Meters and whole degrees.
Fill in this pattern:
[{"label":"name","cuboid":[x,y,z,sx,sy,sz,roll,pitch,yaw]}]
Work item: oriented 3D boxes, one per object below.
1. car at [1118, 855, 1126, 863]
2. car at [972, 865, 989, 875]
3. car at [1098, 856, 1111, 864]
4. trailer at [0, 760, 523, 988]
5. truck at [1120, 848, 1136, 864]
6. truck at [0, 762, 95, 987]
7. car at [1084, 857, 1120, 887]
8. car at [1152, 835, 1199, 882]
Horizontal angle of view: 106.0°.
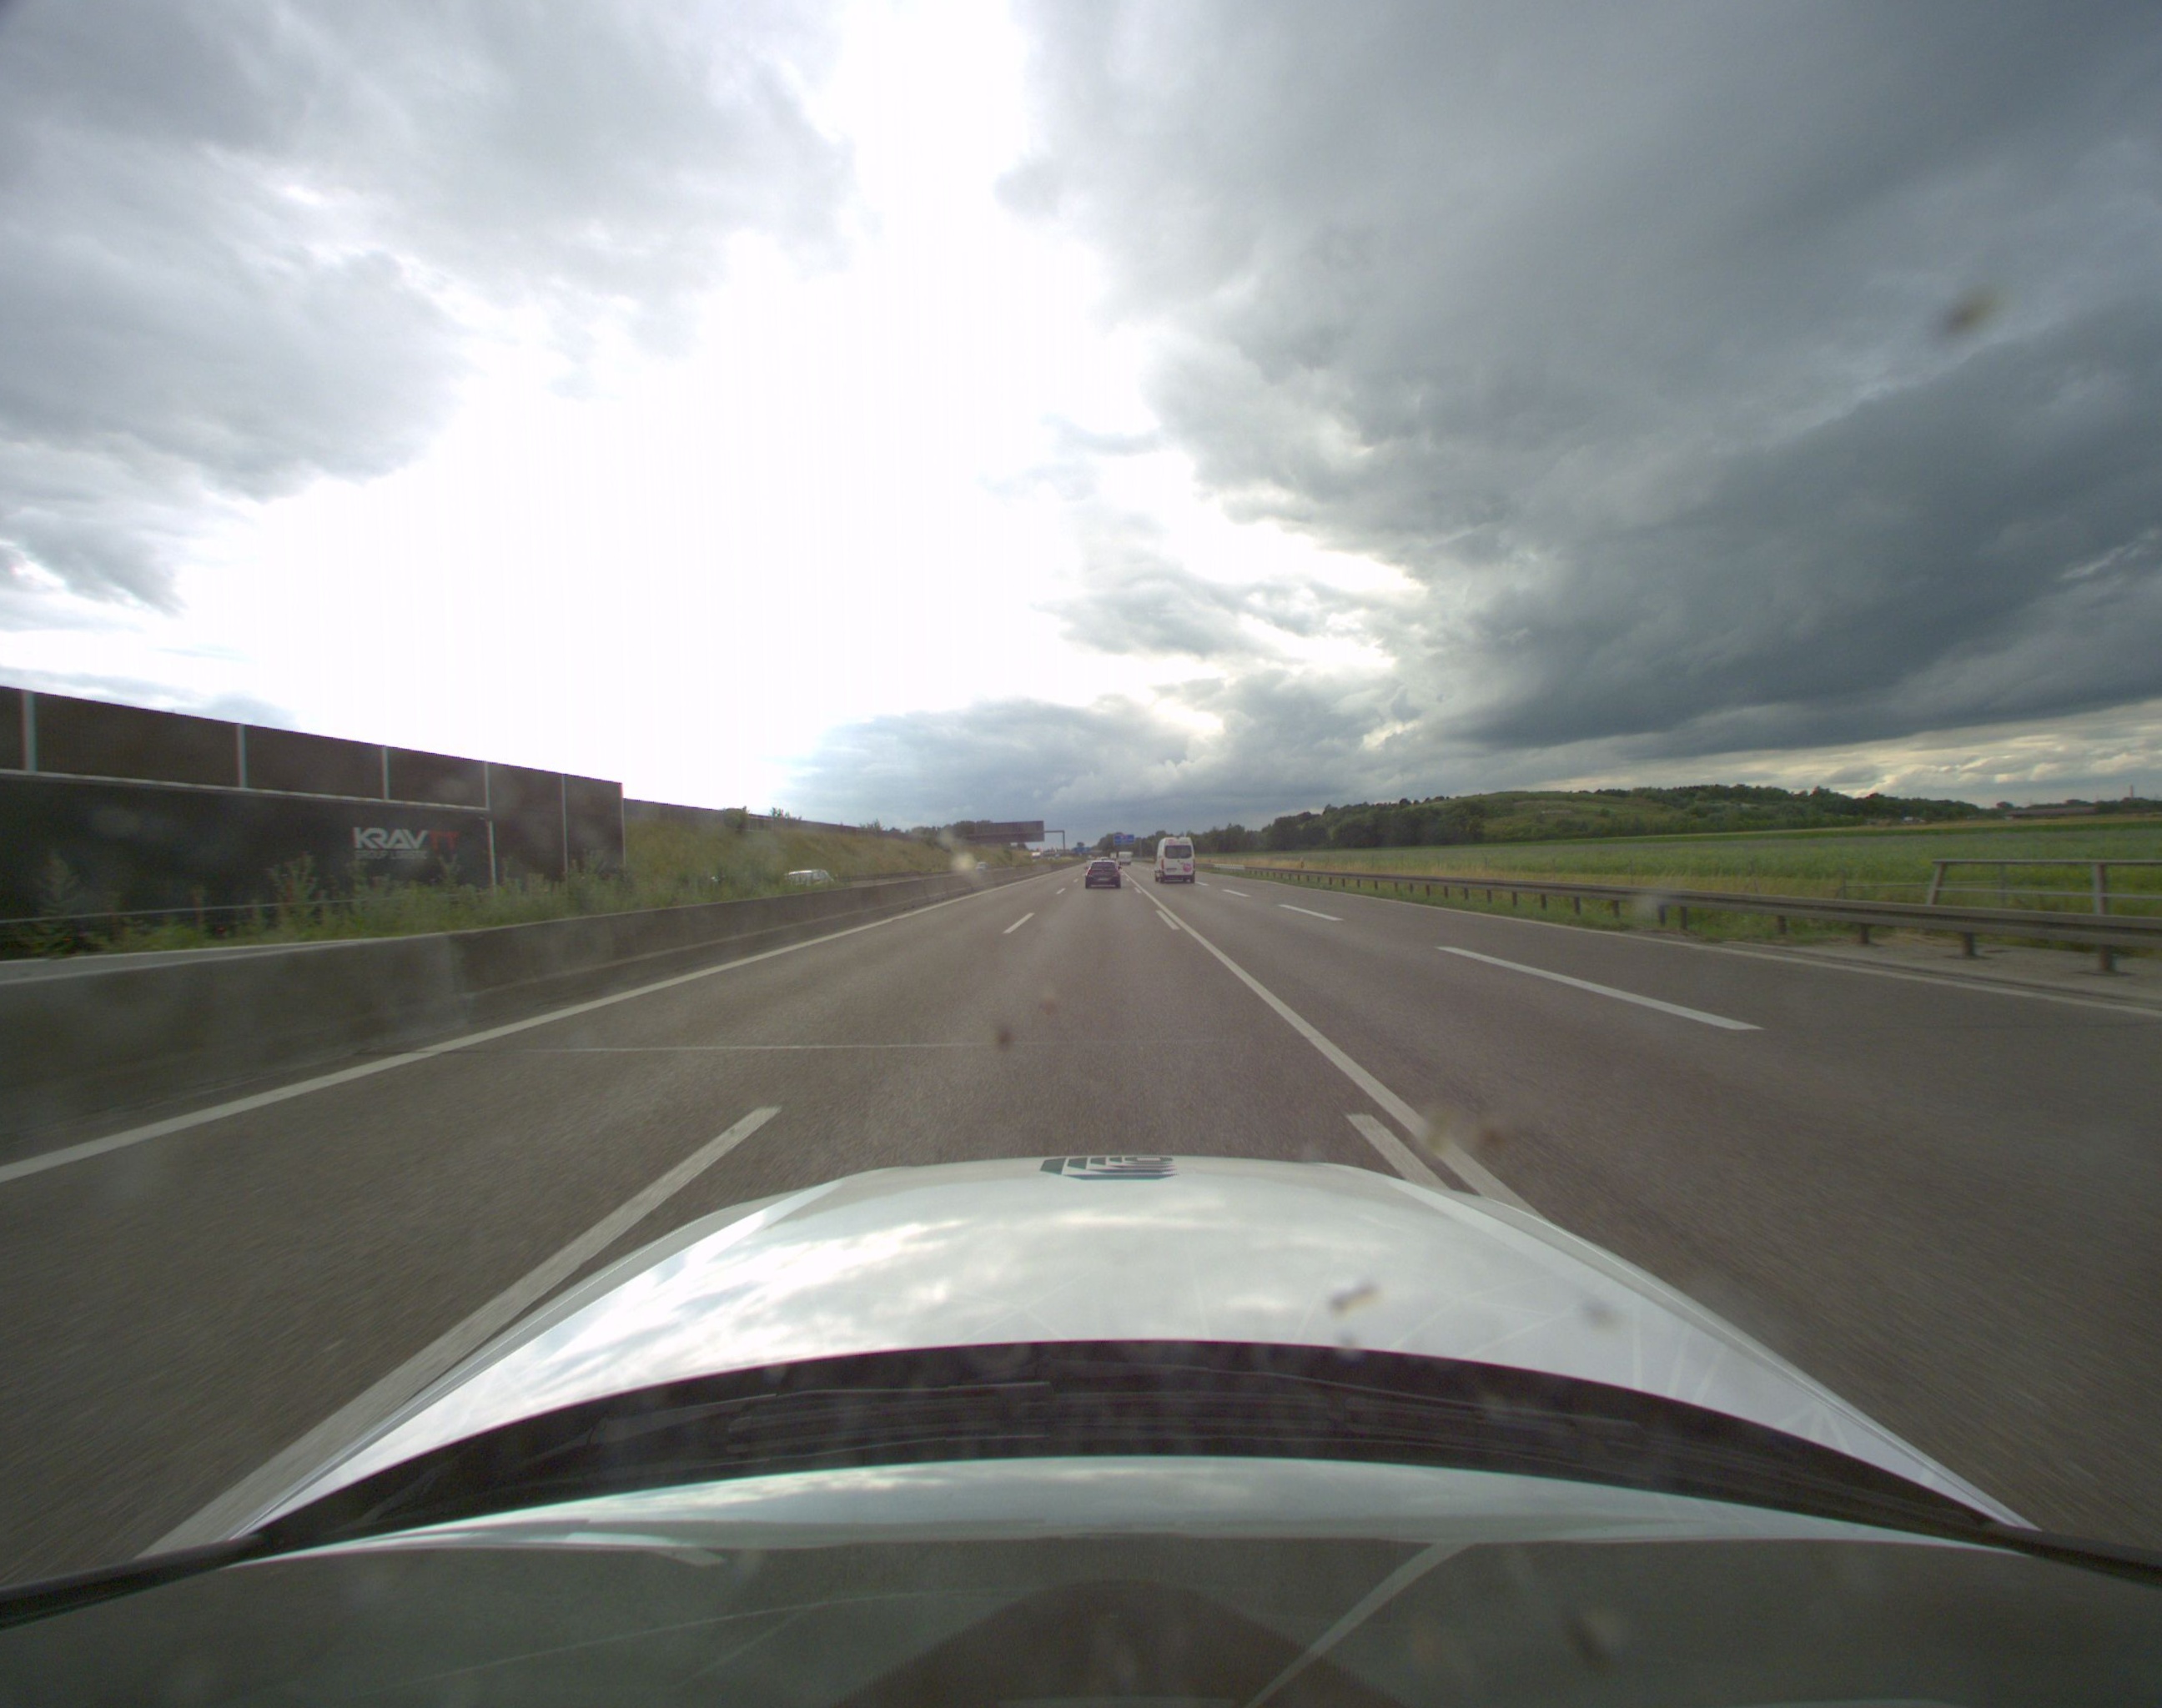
[{"label":"car","cuboid":[10.736,1.319,213.976,1.986,2.013,4.001,-2,0,1]},{"label":"car","cuboid":[-16.096,2.537,130.317,1.986,1.364,4.942,-1,0,1]},{"label":"car","cuboid":[3.862,0.954,132.234,1.986,1.298,4.001,-3,0,1]},{"label":"trailer","cuboid":[-20.510,0.383,20.586,3.657,3.980,12.684,-1,0,2]},{"label":"truck","cuboid":[9.185,0.353,160.019,2.700,2.964,12.451,-1,0,2]},{"label":"truck","cuboid":[-20.819,0.366,12.613,3.654,3.948,6.016,-1,0,2]},{"label":"car","cuboid":[1.086,0.886,41.564,1.737,1.389,4.002,-1,0,2]},{"label":"car","cuboid":[5.609,0.234,48.959,2.213,2.568,6.259,-2,0,2]}]
